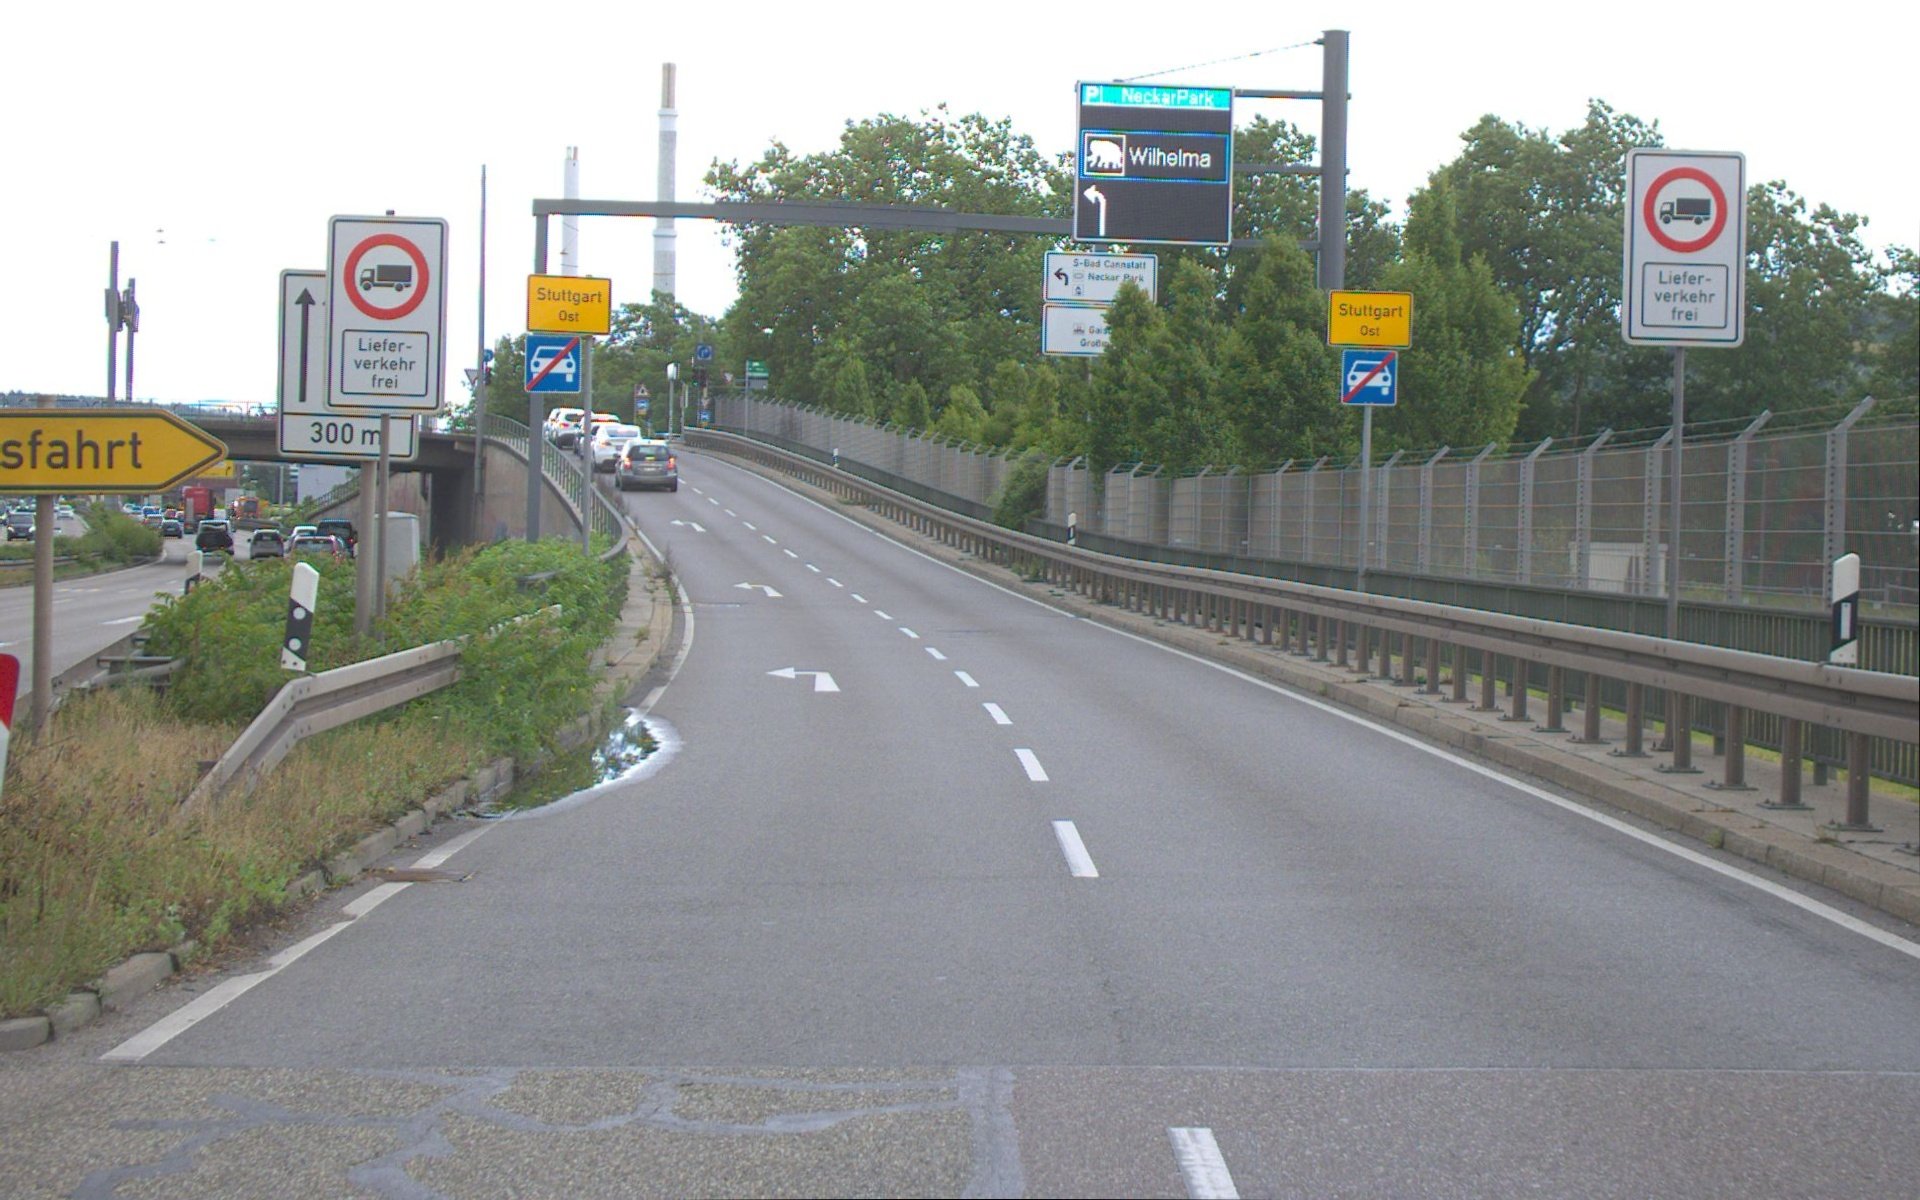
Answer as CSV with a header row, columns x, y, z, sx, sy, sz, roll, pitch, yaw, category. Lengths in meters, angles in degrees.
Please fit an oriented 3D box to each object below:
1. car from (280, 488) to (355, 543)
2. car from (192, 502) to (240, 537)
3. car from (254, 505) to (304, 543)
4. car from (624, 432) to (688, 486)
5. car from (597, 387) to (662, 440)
x,y,z,sx,sy,sz,roll,pitch,yaw,category
-18.733,-2.485,100.195,1.993,1.415,4.002,1,3,-12,car
-39.401,-4.285,182.166,1.993,1.678,4.001,2,3,-6,car
-33.046,-3.699,166.928,1.993,1.678,4.001,2,3,-6,car
-9.486,-4.404,107.442,1.749,1.575,4.086,2,2,-2,car
-11.428,-6.456,118.573,1.993,1.597,4.003,0,6,-9,car
